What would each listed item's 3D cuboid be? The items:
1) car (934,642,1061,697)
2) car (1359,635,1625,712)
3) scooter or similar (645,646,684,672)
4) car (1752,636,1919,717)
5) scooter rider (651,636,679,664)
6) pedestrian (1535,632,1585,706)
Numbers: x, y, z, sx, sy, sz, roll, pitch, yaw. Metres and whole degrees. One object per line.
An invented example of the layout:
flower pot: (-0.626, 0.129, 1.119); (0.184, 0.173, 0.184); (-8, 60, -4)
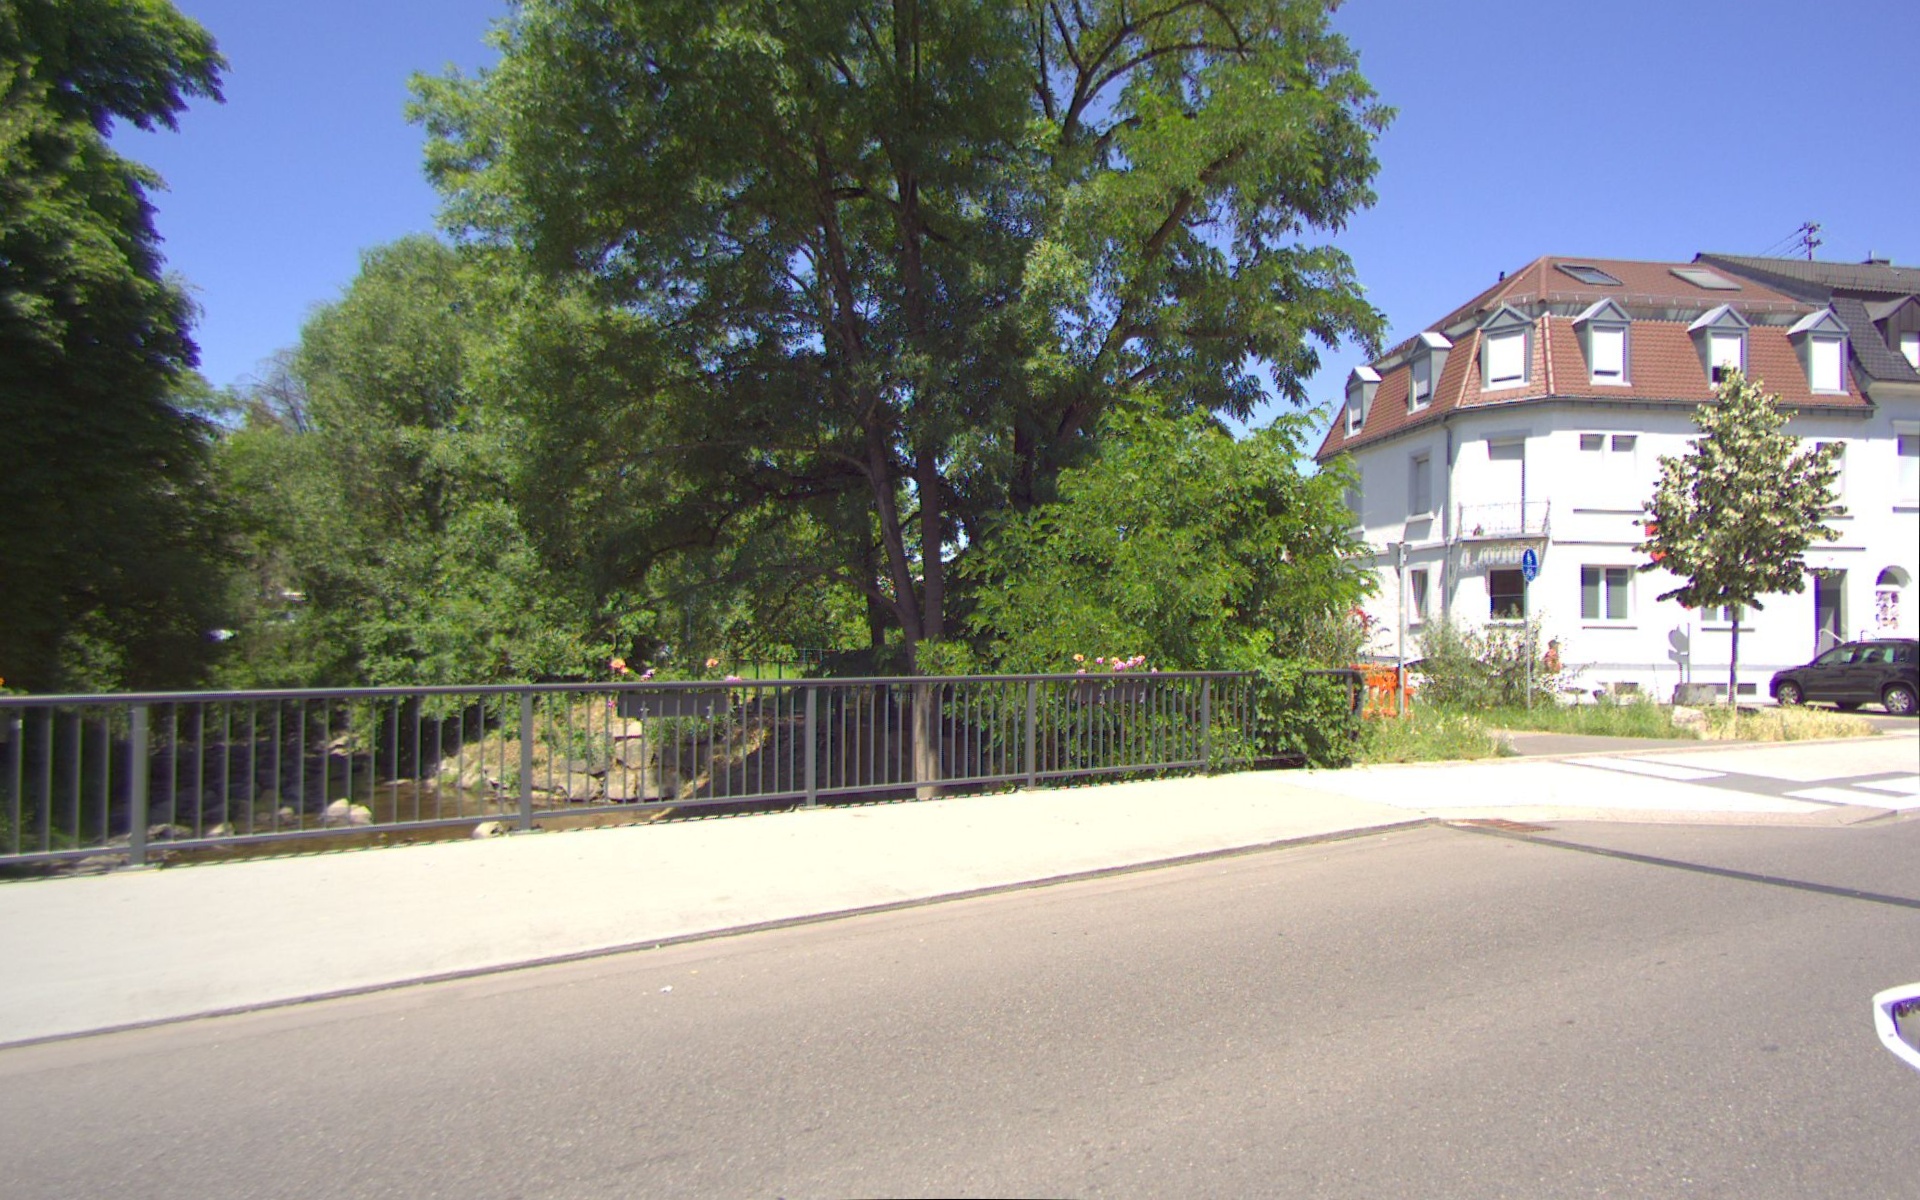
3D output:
car: (1.163, 2.201, 32.467); (1.984, 1.563, 3.953); (2, -2, -40)
car: (11.255, 1.500, 21.522); (1.984, 1.374, 4.654); (2, -2, -40)
scooter or similar: (-11.563, 2.301, 39.278); (0.911, 0.936, 1.608); (2, -2, -38)
car: (21.120, 1.713, 23.275); (1.935, 1.684, 4.189); (1, -2, -8)
scooter rider: (-11.536, 1.952, 39.291); (0.796, 1.065, 0.910); (1, 0, -37)
pedestrian: (14.778, 1.695, 24.757); (0.728, 1.777, 0.733); (2, -4, -23)
